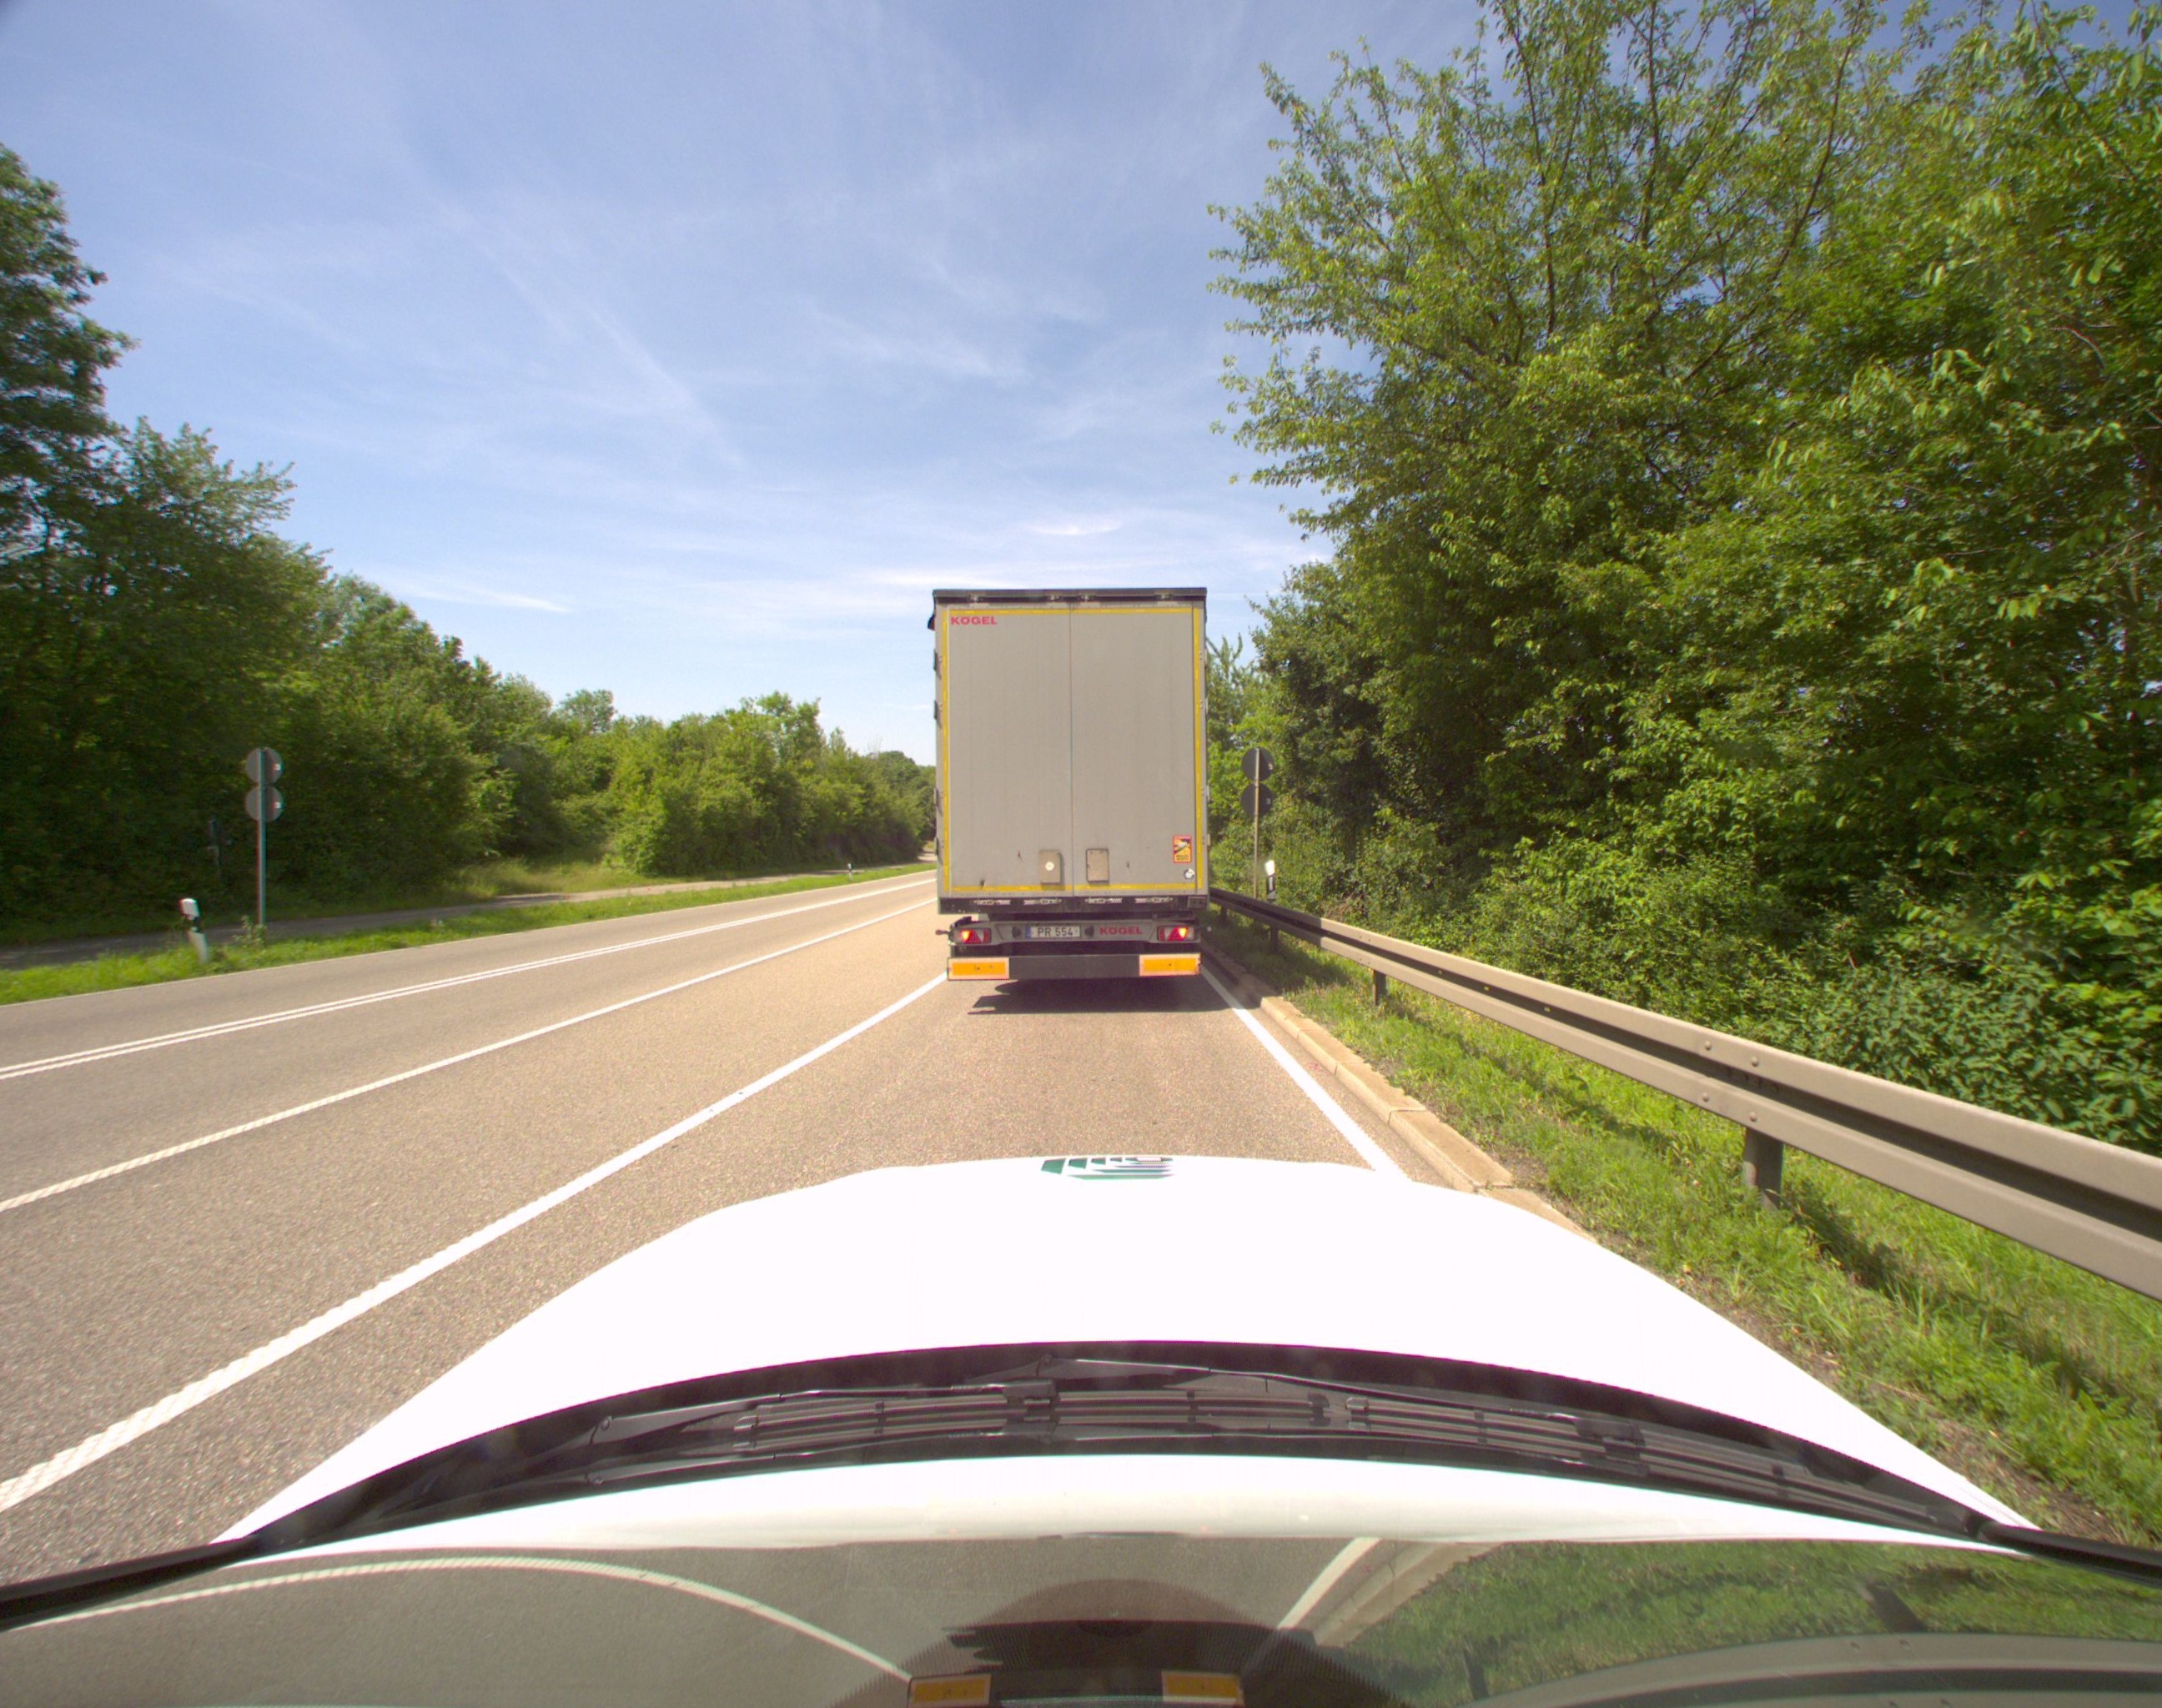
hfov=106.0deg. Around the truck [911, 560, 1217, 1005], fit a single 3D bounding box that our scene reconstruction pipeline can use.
[{"bbox_3d":[-0.036,-0.673,13.409,2.747,4.029,11.926,-1,0,1],"label":"truck"}]
